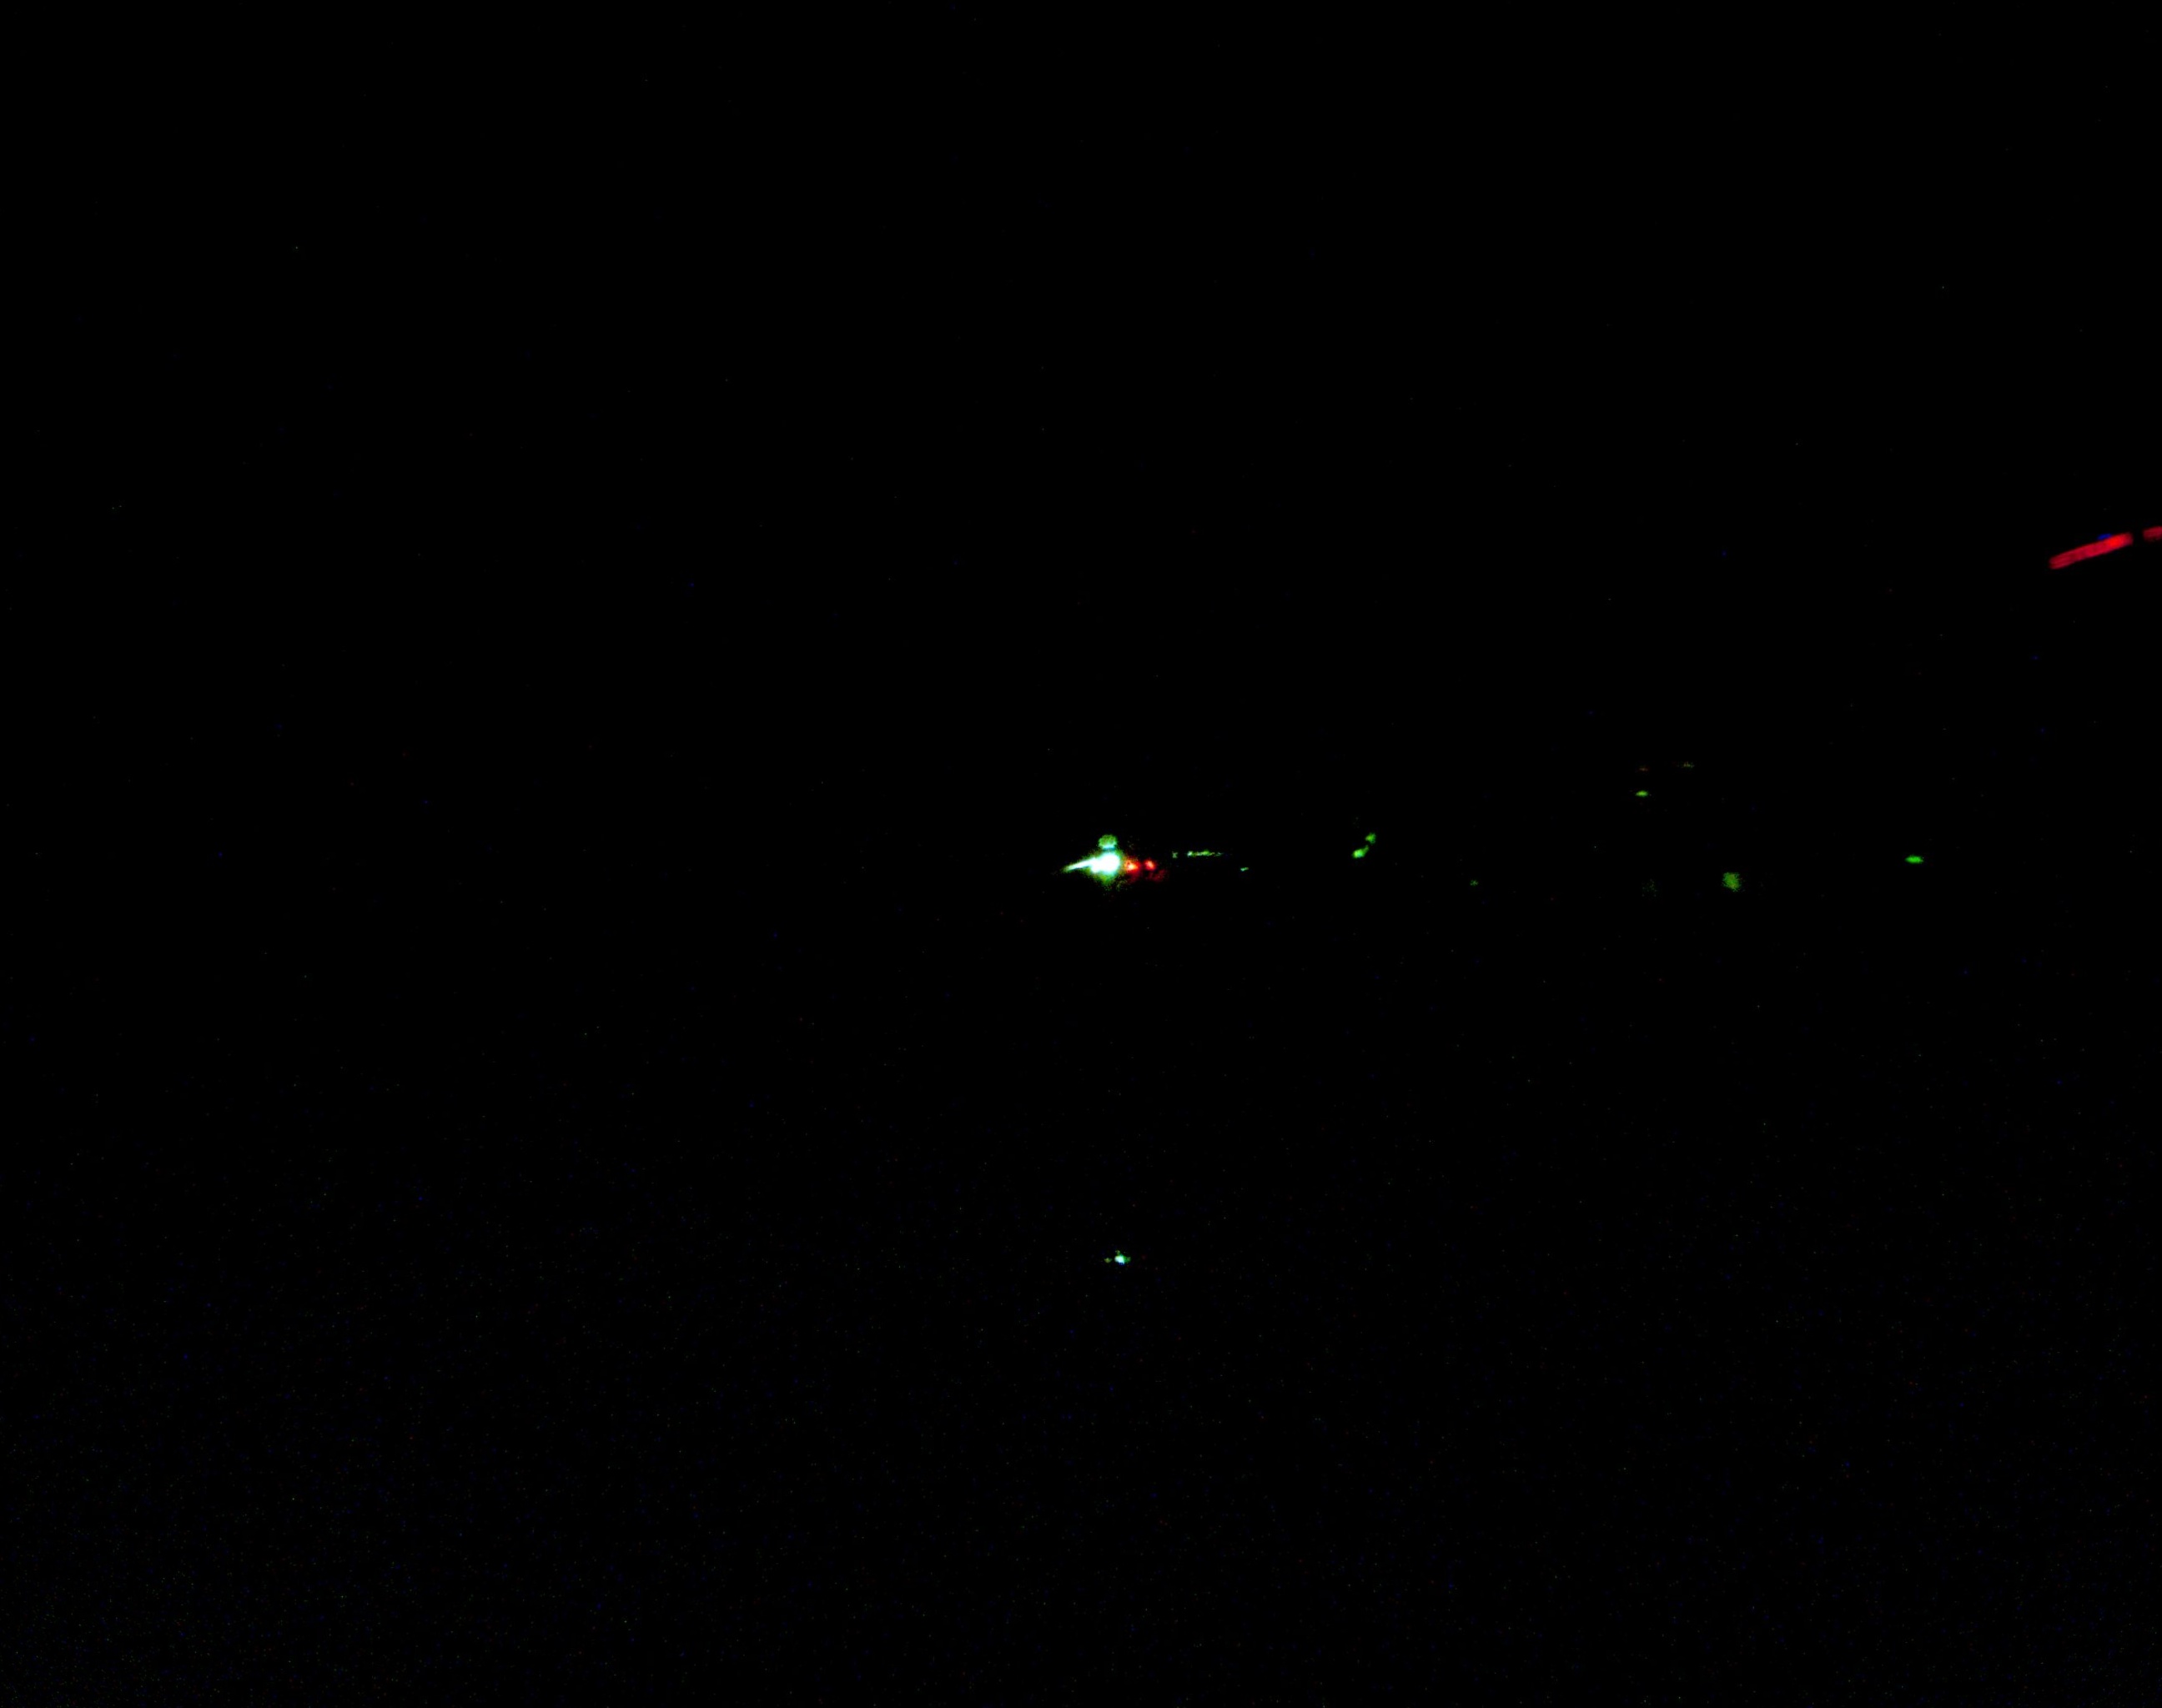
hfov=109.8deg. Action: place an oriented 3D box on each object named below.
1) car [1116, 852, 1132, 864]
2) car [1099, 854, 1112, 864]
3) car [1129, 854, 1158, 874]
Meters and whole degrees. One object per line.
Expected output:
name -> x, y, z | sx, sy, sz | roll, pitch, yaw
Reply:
car -> 5.868, 0.523, 104.031 | 1.873, 1.603, 3.847 | -2, 0, 1
car -> 4.055, 0.851, 124.837 | 1.745, 1.623, 3.738 | -1, 0, 9
car -> 4.709, 0.713, 57.674 | 1.873, 1.439, 4.393 | -2, 0, 1
